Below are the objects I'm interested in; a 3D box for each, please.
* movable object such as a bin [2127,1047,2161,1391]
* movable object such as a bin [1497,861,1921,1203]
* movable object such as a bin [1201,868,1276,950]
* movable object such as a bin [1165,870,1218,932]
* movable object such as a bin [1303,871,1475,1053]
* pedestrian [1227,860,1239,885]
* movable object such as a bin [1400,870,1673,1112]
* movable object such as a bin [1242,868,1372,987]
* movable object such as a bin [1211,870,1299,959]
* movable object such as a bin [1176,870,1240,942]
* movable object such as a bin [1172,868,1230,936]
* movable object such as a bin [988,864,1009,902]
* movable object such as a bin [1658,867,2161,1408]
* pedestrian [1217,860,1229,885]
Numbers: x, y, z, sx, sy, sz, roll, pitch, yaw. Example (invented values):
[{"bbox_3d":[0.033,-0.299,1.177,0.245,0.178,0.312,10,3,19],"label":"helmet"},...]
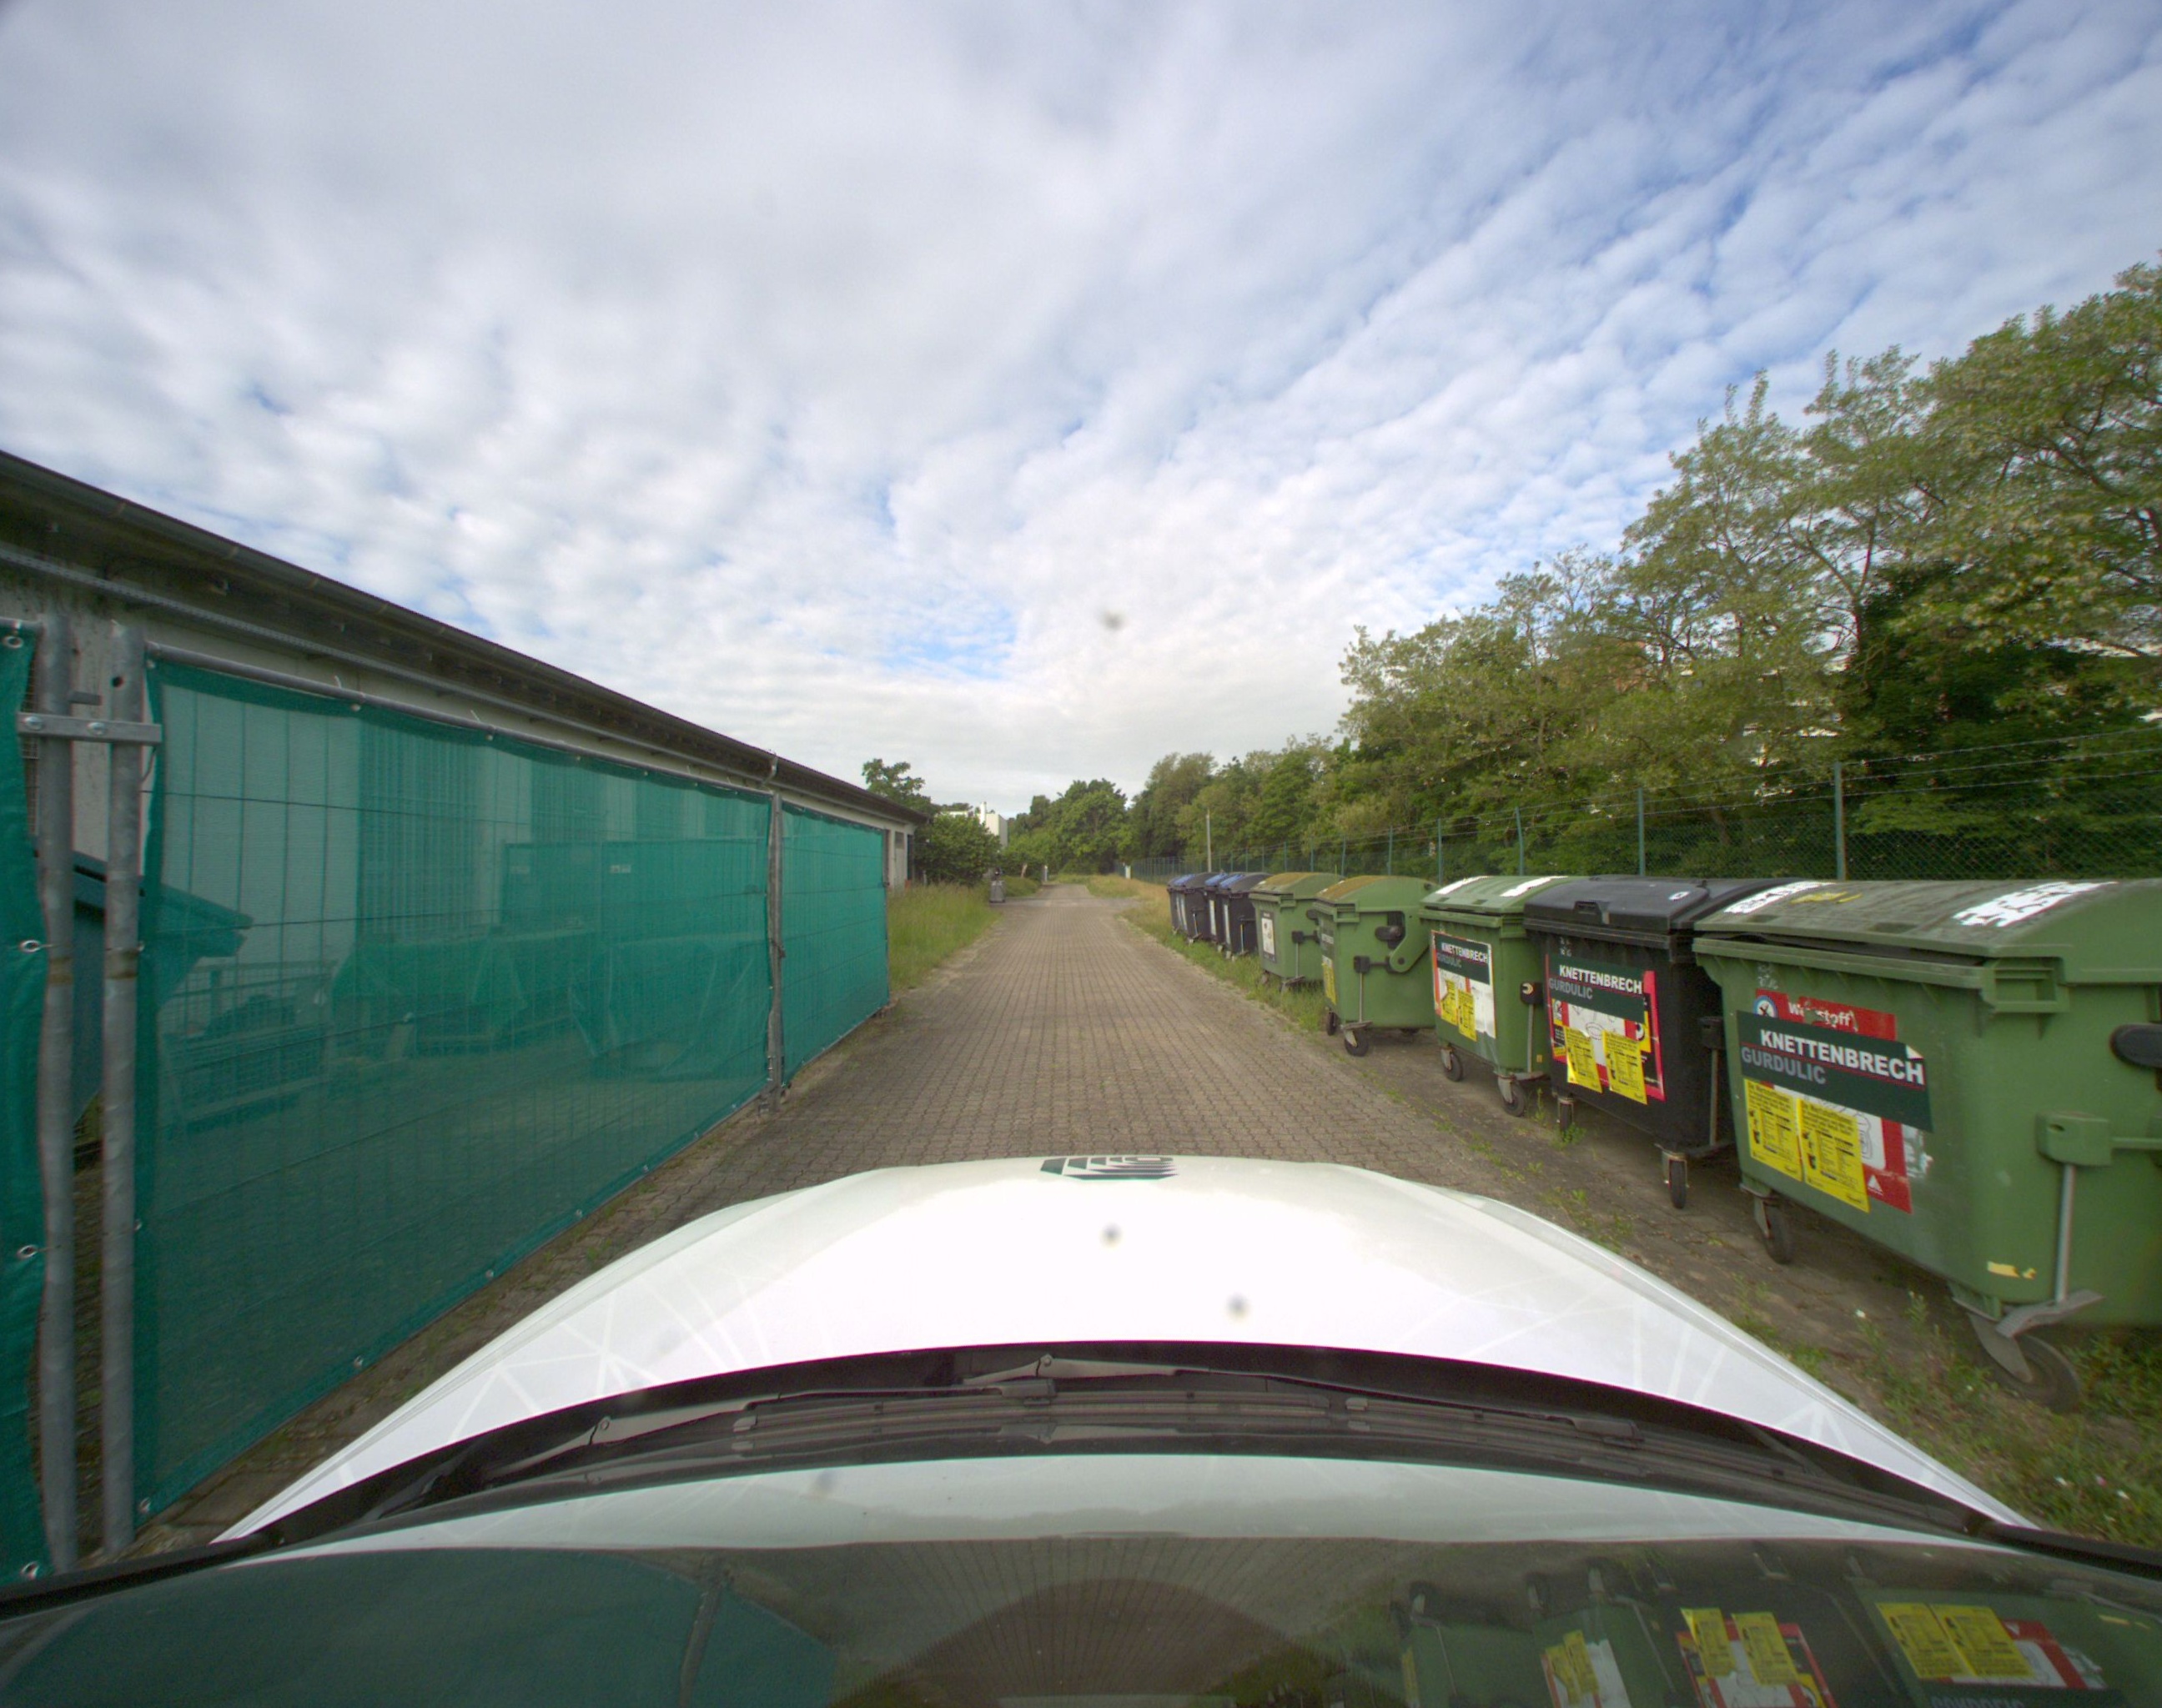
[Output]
[{"bbox_3d":[3.029,0.931,1.814,0.596,0.866,0.587,-1,-2,7],"label":"movable object such as a bin"},{"bbox_3d":[3.007,0.770,4.148,1.065,1.435,1.398,0,-2,1],"label":"movable object such as a bin"},{"bbox_3d":[2.755,0.948,14.438,1.118,1.374,1.495,0,-2,4],"label":"movable object such as a bin"},{"bbox_3d":[2.498,1.057,18.648,1.118,1.351,1.427,0,-2,4],"label":"movable object such as a bin"},{"bbox_3d":[2.584,0.860,7.053,1.116,1.398,1.388,-1,-2,9],"label":"movable object such as a bin"},{"bbox_3d":[12.256,1.509,65.603,0.757,2.014,0.663,-1,-1,-3],"label":"pedestrian"},{"bbox_3d":[2.942,0.823,5.478,1.065,1.406,1.385,0,-2,1],"label":"movable object such as a bin"},{"bbox_3d":[2.624,0.829,9.649,1.120,1.296,1.378,0,-2,-2],"label":"movable object such as a bin"},{"bbox_3d":[2.705,0.923,12.856,1.149,1.325,1.495,0,-2,4],"label":"movable object such as a bin"},{"bbox_3d":[2.453,0.985,15.932,1.117,1.321,1.326,-1,-1,4],"label":"movable object such as a bin"},{"bbox_3d":[2.510,1.006,17.235,1.118,1.379,1.326,0,-2,4],"label":"movable object such as a bin"},{"bbox_3d":[-4.410,1.534,43.455,0.930,1.982,0.855,-1,-1,7],"label":"movable object such as a bin"},{"bbox_3d":[2.989,0.753,2.791,1.122,1.396,1.359,-1,-2,7],"label":"movable object such as a bin"},{"bbox_3d":[11.467,1.495,65.717,0.757,2.014,0.663,-1,-1,-3],"label":"pedestrian"}]
